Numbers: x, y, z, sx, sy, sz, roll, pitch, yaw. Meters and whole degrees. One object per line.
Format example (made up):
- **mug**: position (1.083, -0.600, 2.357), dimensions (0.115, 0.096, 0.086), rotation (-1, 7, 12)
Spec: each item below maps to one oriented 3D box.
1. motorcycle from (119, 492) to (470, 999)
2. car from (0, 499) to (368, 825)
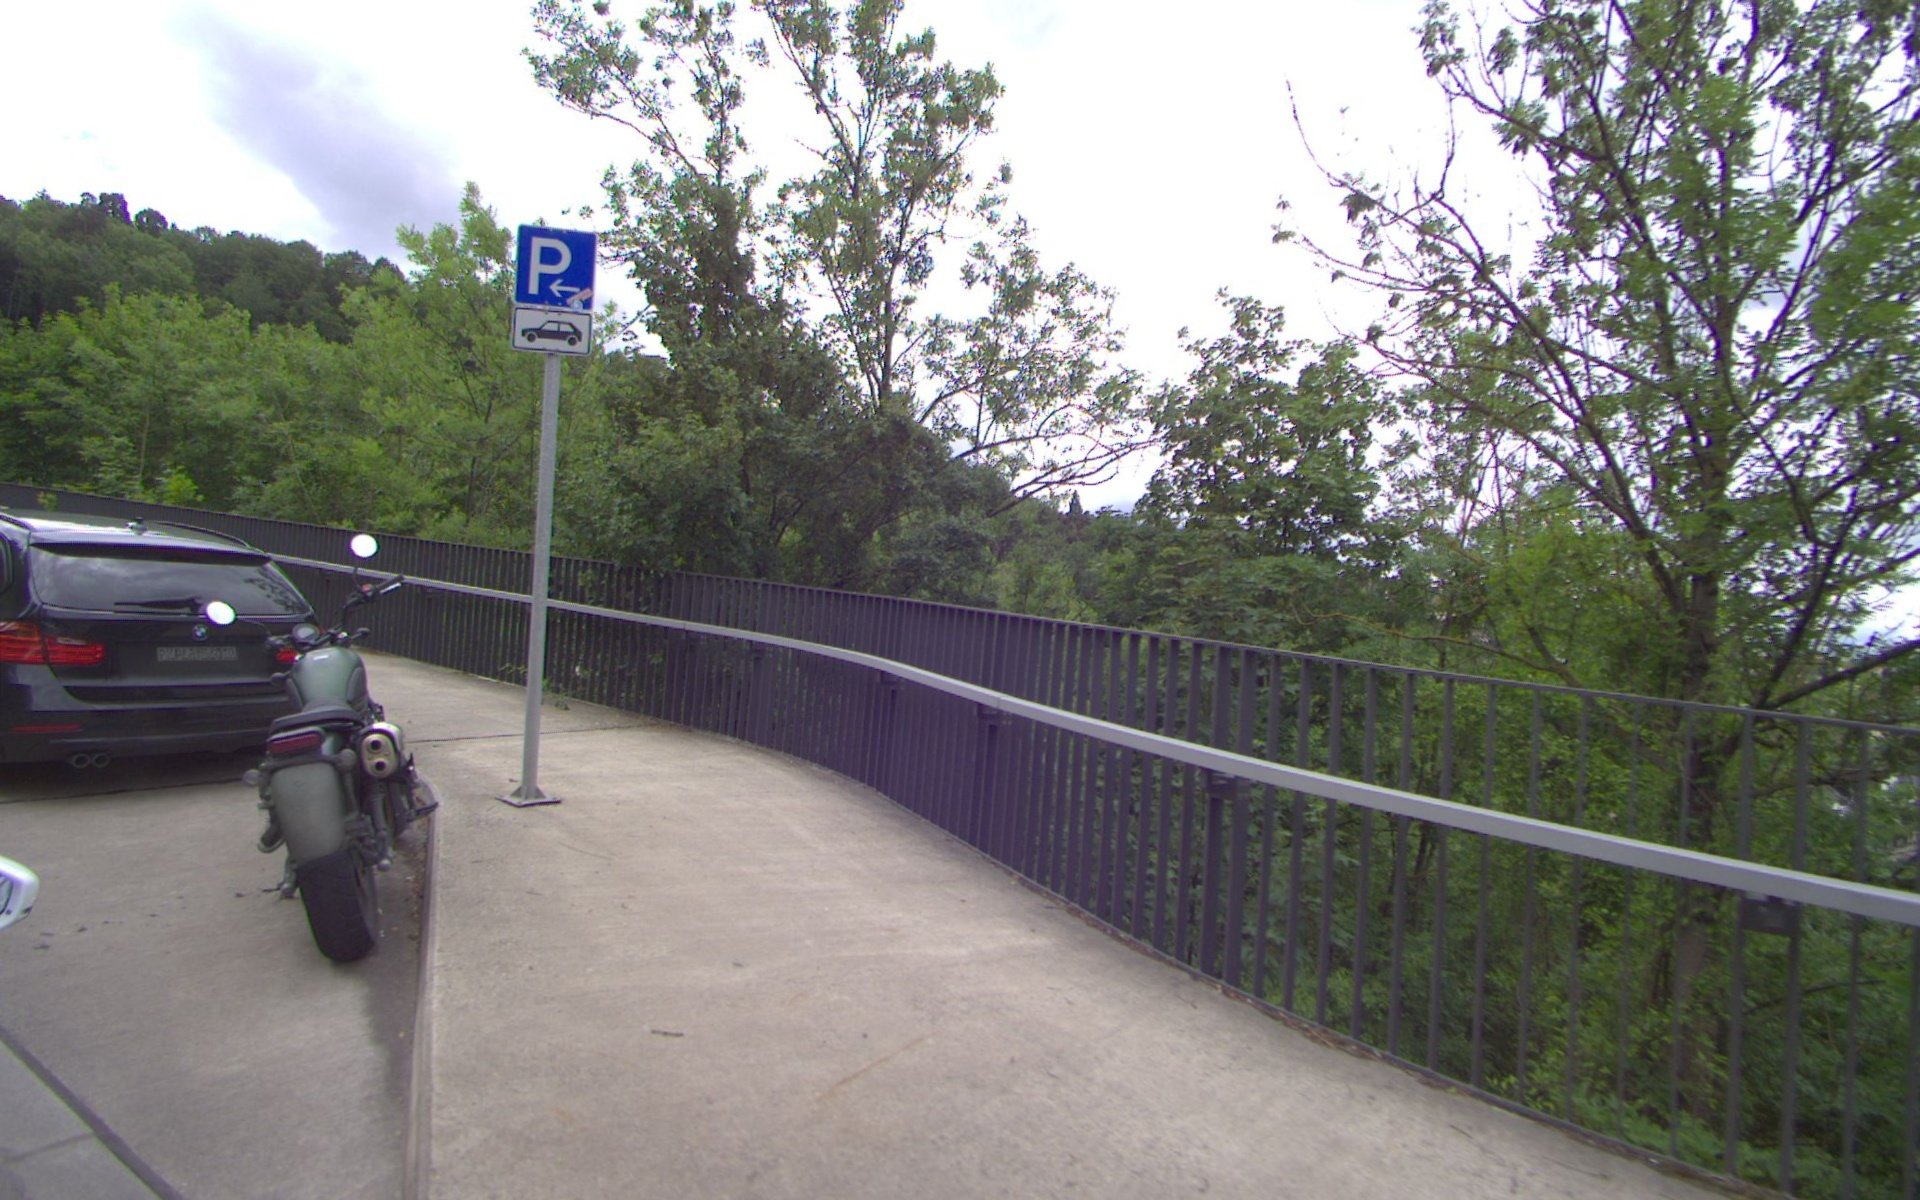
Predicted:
- **motorcycle**: position (-2.630, 0.417, 4.200), dimensions (0.763, 1.485, 2.486), rotation (7, -1, -29)
- **car**: position (-5.801, 0.133, 6.220), dimensions (4.247, 1.419, 1.824), rotation (7, 2, 31)
